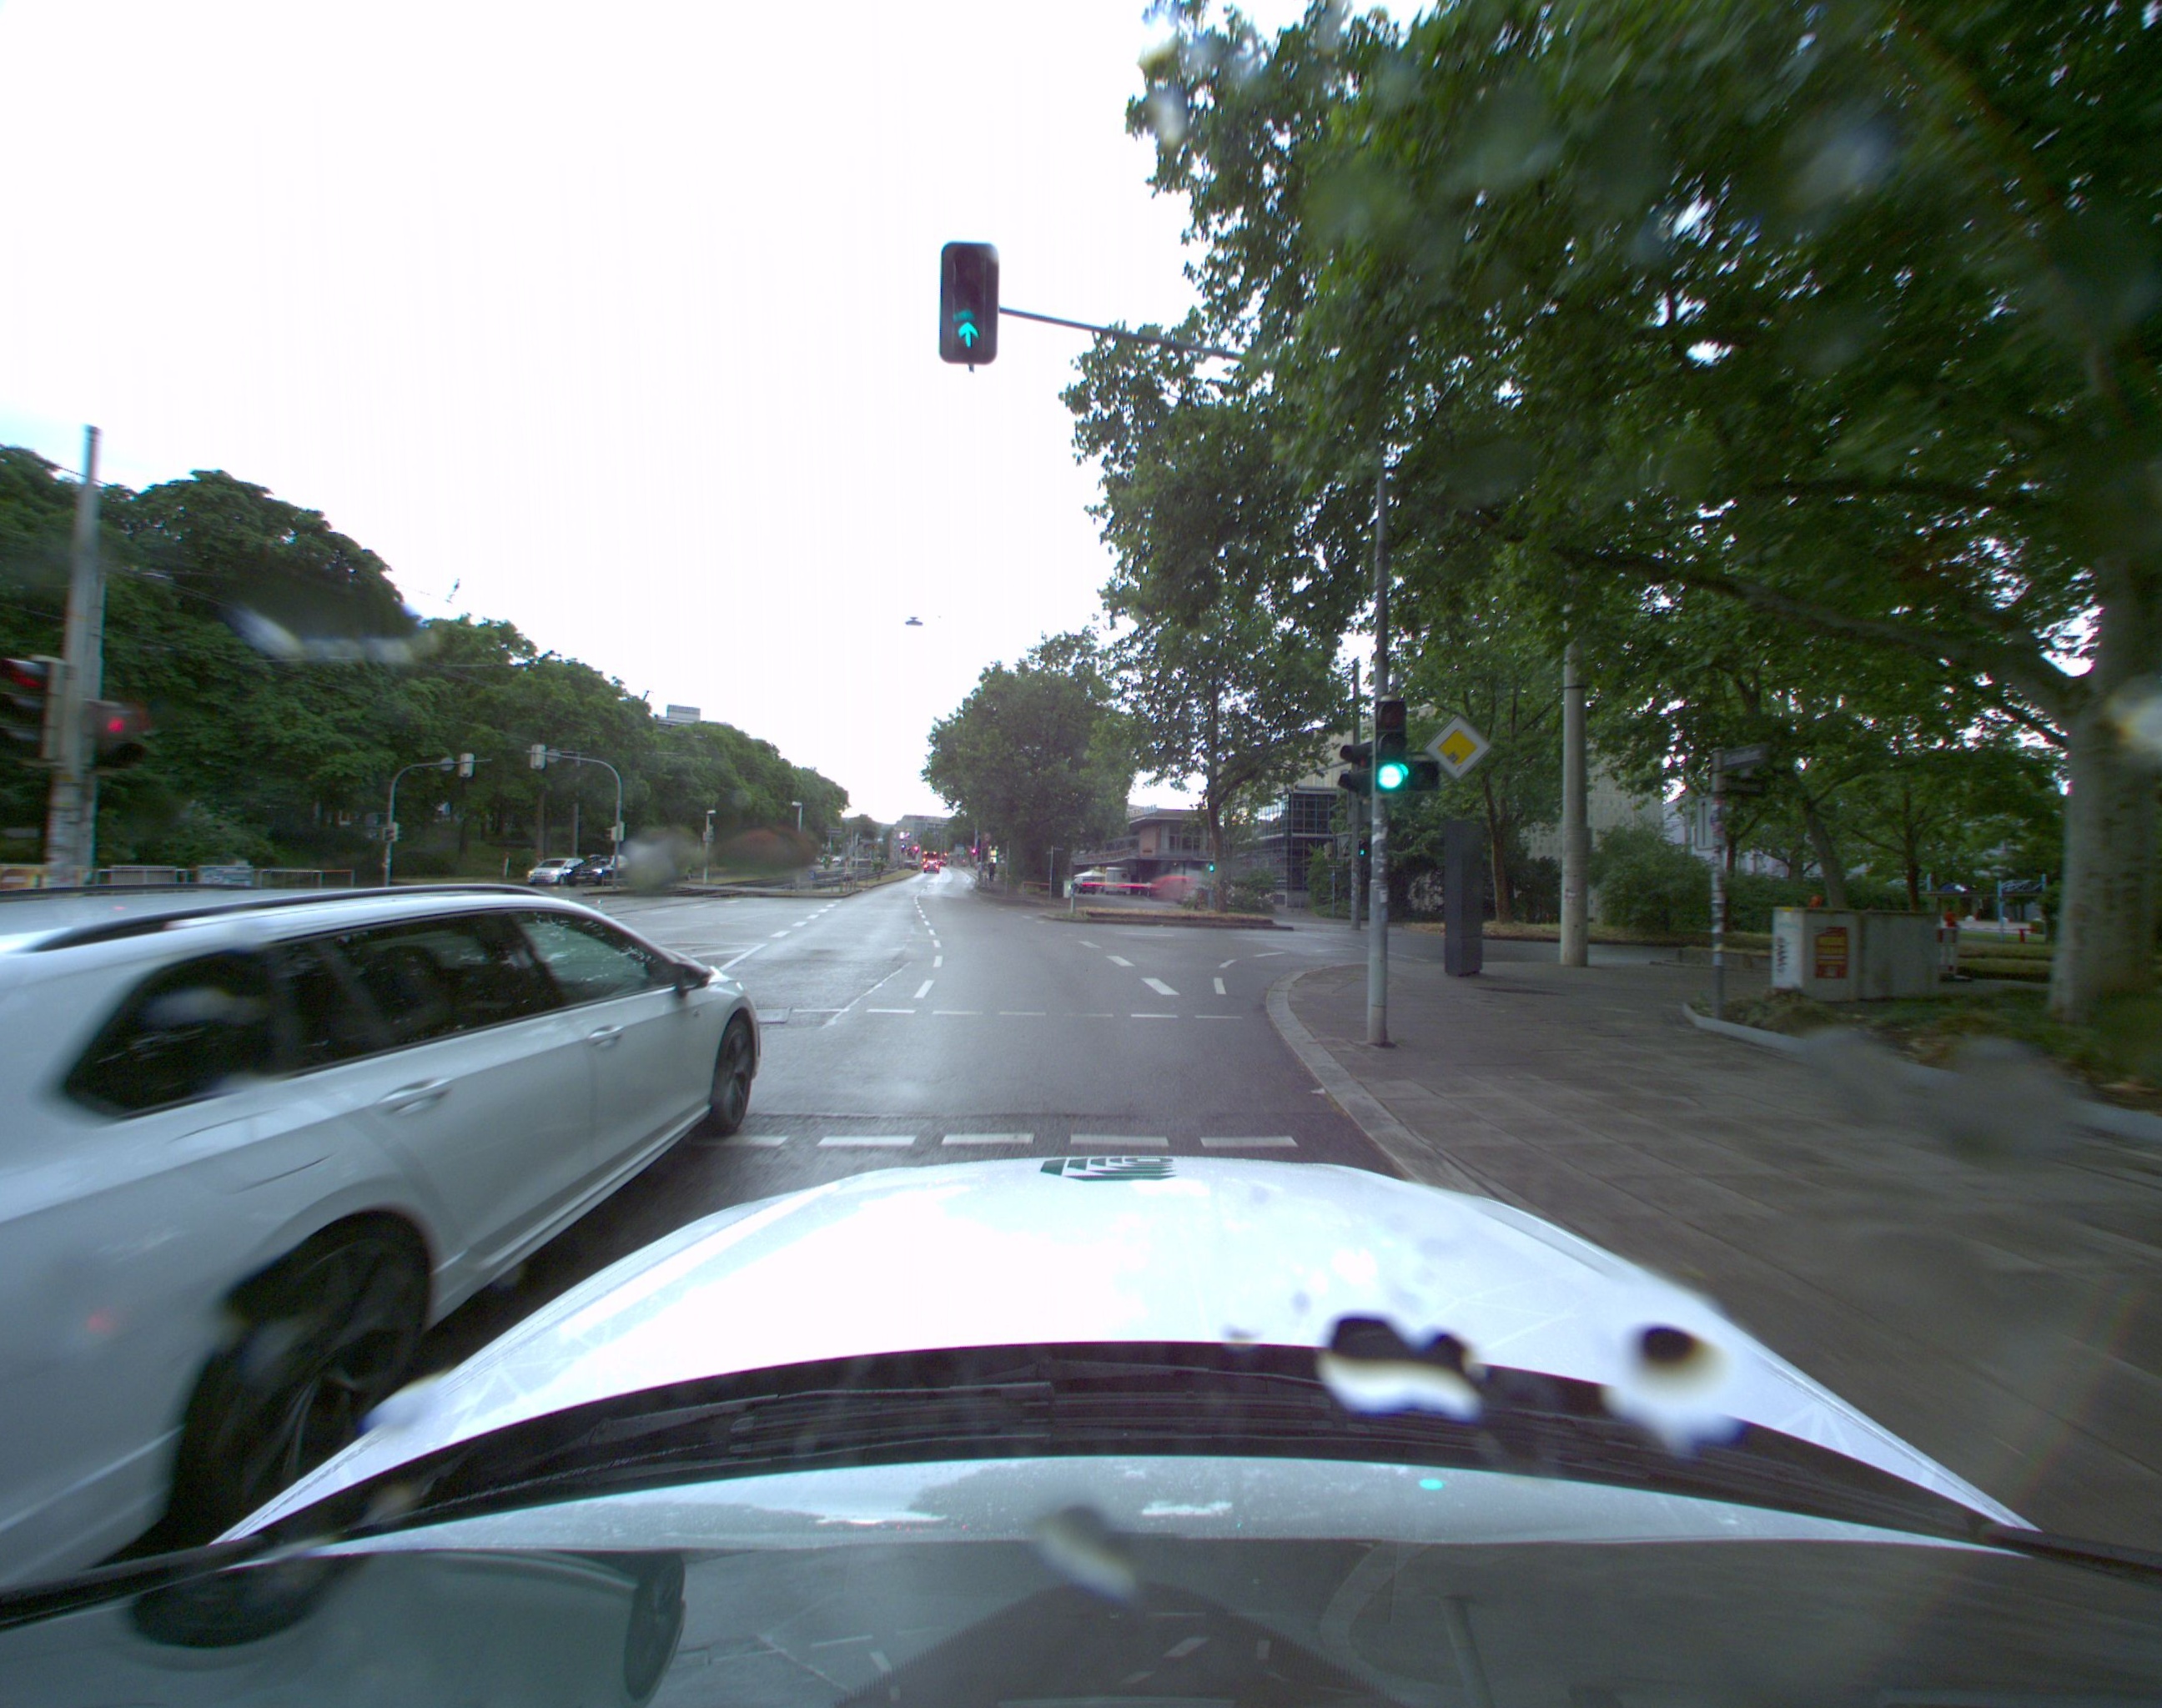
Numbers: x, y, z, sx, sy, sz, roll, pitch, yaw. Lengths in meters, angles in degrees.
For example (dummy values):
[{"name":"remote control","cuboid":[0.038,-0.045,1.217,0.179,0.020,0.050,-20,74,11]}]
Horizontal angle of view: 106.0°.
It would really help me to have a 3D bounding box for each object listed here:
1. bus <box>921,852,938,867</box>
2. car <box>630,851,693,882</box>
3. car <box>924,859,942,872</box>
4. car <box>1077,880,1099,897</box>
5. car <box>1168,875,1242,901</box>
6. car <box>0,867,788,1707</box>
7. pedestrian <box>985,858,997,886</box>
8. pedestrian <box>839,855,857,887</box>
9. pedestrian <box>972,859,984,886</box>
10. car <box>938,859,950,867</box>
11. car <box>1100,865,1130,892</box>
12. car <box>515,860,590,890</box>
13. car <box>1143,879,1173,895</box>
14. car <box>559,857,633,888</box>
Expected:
[{"name":"bus","cuboid":[-32.647,1.278,175.357,3.591,3.171,10.380,0,-1,-11]},{"name":"car","cuboid":[-26.571,0.796,51.751,1.917,1.851,4.557,1,-1,-5]},{"name":"car","cuboid":[-17.695,1.338,97.249,1.993,1.519,4.336,0,-1,-9]},{"name":"car","cuboid":[0.725,3.642,85.964,2.010,1.551,4.354,2,-1,4]},{"name":"car","cuboid":[9.164,2.526,60.030,5.221,1.731,1.860,2,-1,-23]},{"name":"car","cuboid":[-2.721,0.780,3.106,1.792,1.442,4.470,0,-1,-3]},{"name":"pedestrian","cuboid":[-6.694,1.335,60.828,0.873,2.014,1.075,0,-1,-6]},{"name":"pedestrian","cuboid":[-13.327,0.973,46.616,0.871,1.802,0.863,2,-1,-15]},{"name":"pedestrian","cuboid":[-7.651,1.391,60.617,0.813,2.014,1.075,0,-1,-6]},{"name":"car","cuboid":[-30.336,2.009,180.270,2.364,1.817,5.163,0,-1,-11]},{"name":"car","cuboid":[3.687,2.606,89.348,2.725,2.695,6.916,2,-1,-2]},{"name":"car","cuboid":[-29.101,1.146,44.980,1.917,1.546,3.673,1,-1,-5]},{"name":"car","cuboid":[8.165,3.490,86.993,2.020,1.551,4.334,2,-1,-10]},{"name":"car","cuboid":[-25.718,0.970,43.345,1.917,1.546,3.673,1,-1,-5]}]
